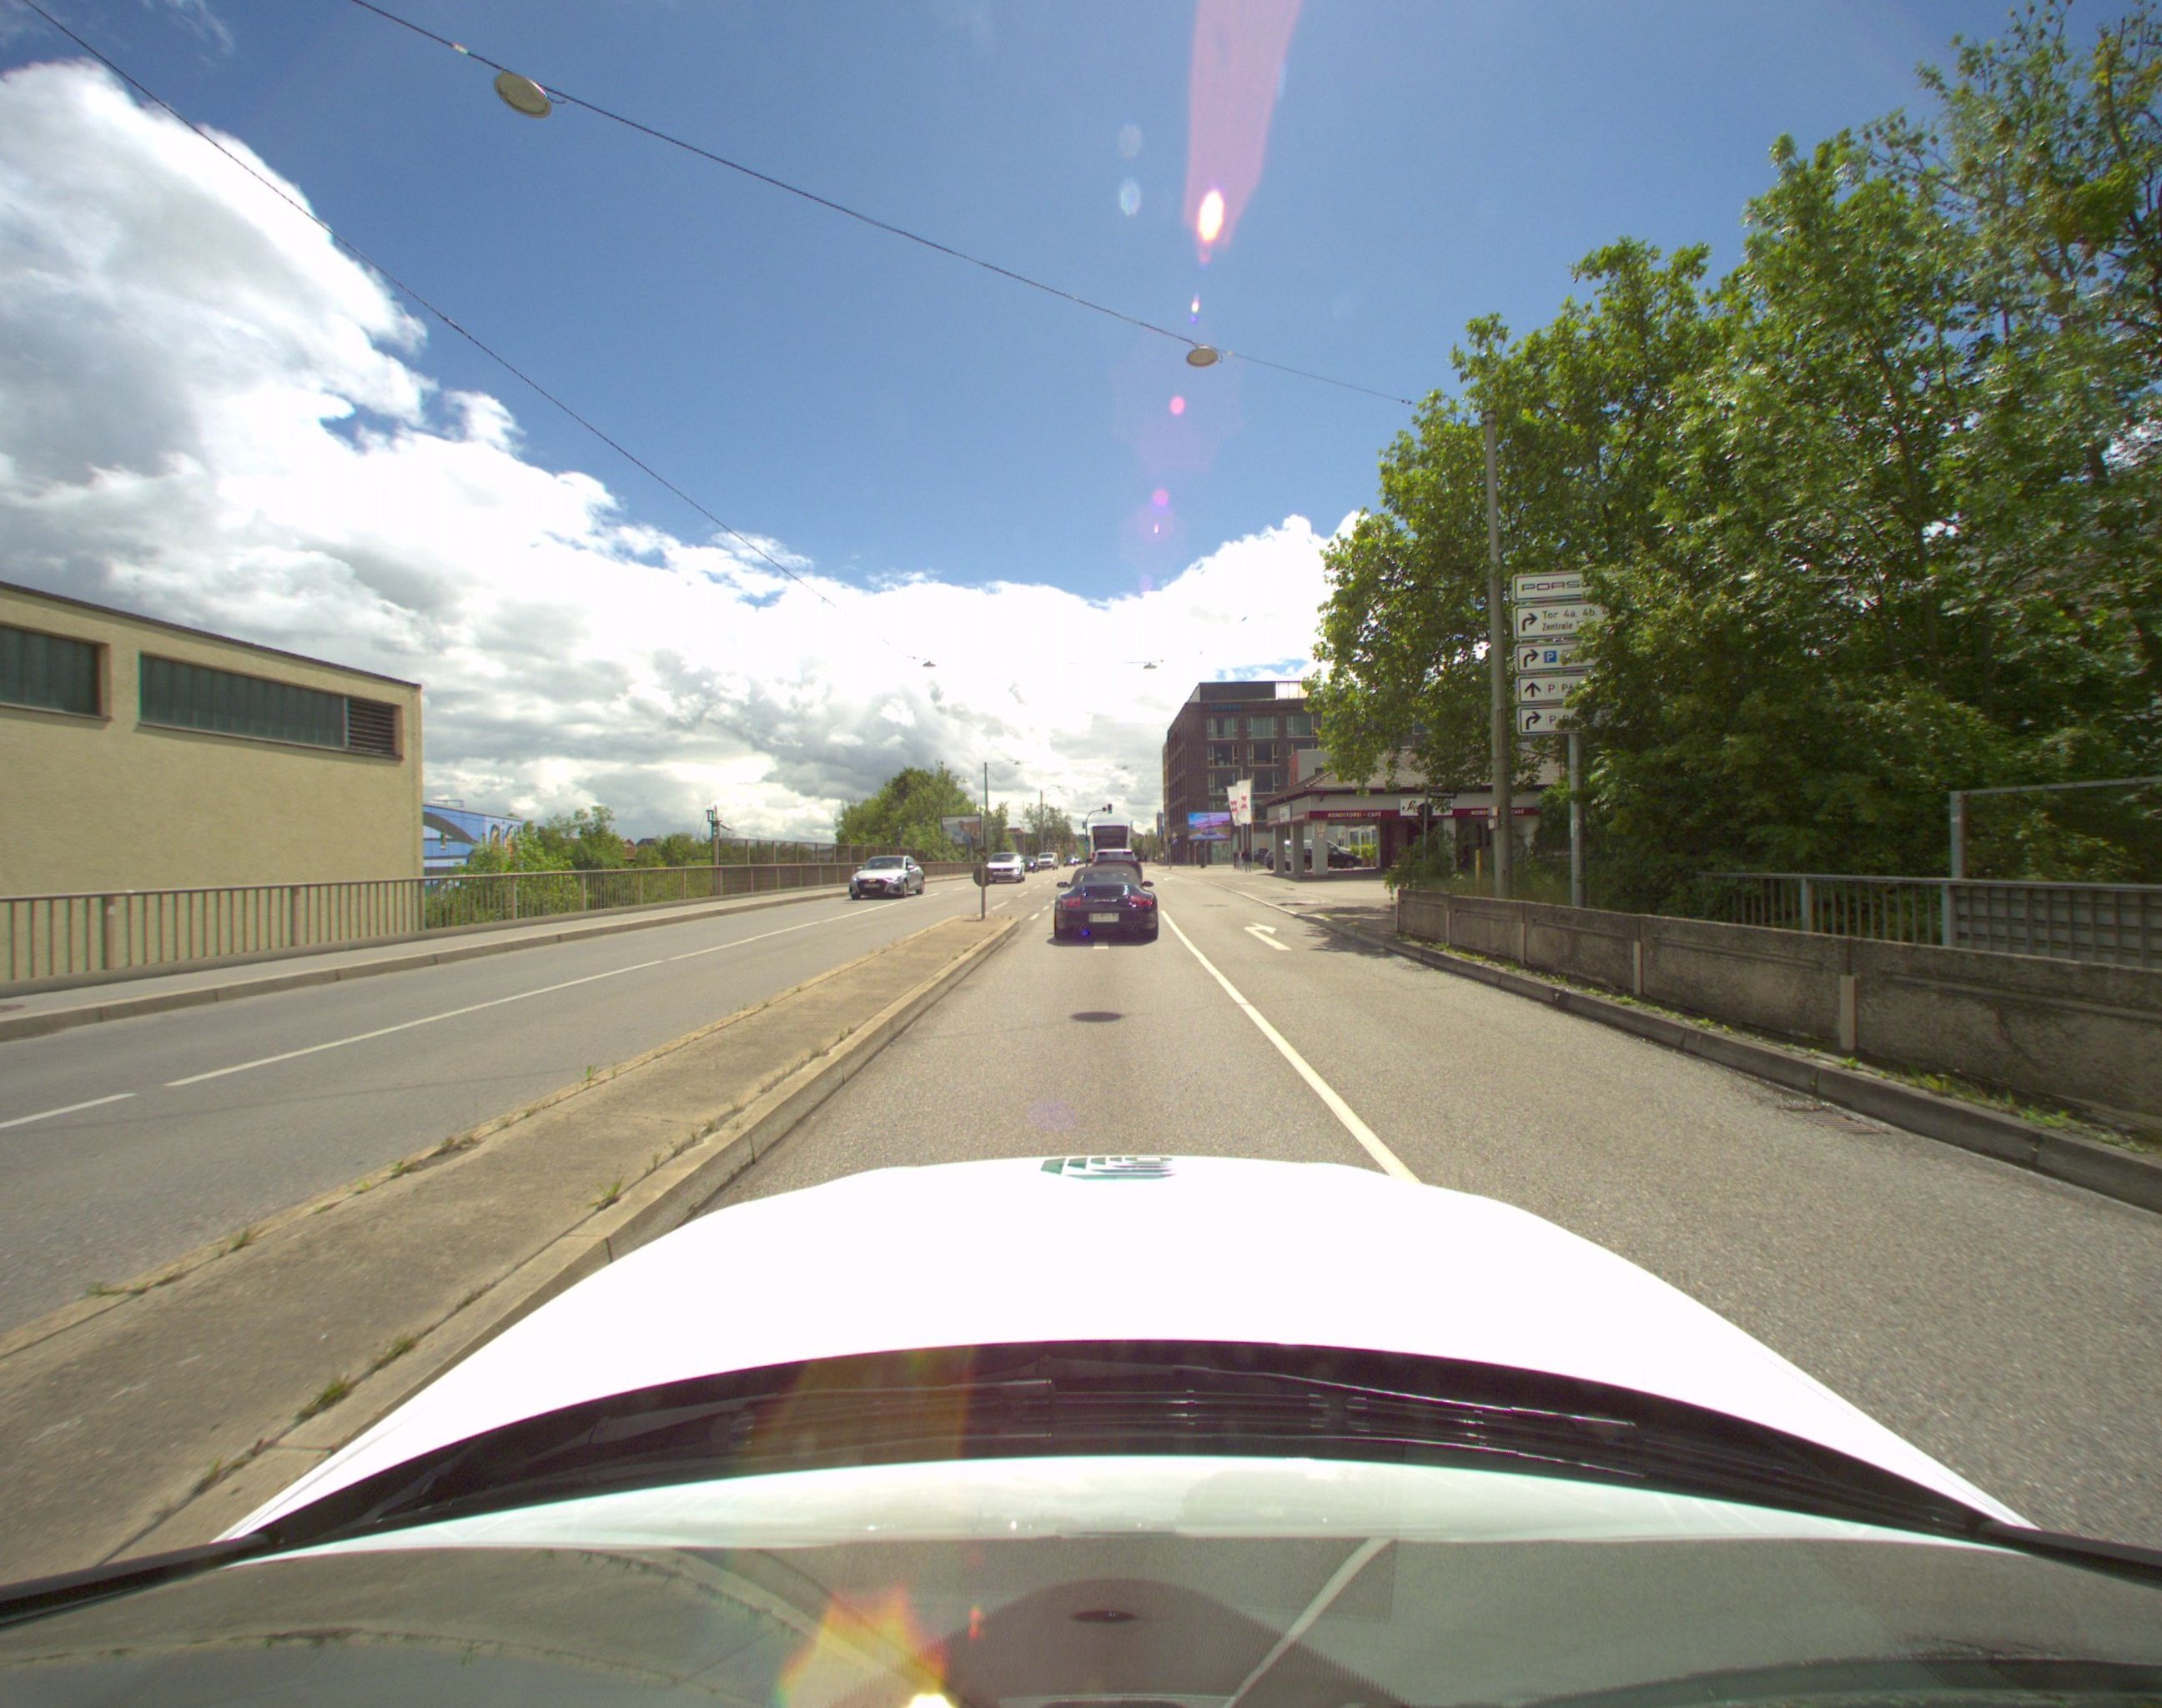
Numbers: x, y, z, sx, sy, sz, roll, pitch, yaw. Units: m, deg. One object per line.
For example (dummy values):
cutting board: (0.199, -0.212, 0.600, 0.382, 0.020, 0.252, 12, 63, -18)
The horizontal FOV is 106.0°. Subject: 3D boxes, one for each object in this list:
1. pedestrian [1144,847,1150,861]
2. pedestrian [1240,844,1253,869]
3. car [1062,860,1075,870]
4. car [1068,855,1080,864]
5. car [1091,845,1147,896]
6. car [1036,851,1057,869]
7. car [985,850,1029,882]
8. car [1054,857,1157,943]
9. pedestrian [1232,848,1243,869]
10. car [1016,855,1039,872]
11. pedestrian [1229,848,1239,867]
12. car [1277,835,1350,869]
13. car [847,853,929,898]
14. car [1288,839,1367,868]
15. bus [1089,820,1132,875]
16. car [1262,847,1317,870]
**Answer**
pedestrian: (9.663, 0.024, 119.191, 0.664, 2.014, 0.769, -1, -1, 0)
pedestrian: (11.257, 0.193, 55.456, 0.673, 1.696, 0.602, -1, 0, 27)
car: (-1.817, 1.573, 119.896, 1.656, 1.416, 3.805, -1, 0, 2)
car: (-1.182, 0.884, 139.223, 1.656, 1.547, 3.805, -1, 0, 2)
car: (1.306, 0.520, 29.328, 1.873, 1.594, 4.231, 0, 2, 1)
car: (-3.921, 0.711, 92.638, 1.894, 1.887, 5.315, -3, 0, 2)
car: (-3.746, 0.579, 41.816, 1.803, 1.560, 4.208, 0, 0, 1)
car: (0.457, 0.781, 15.692, 1.713, 1.275, 4.090, 0, 2, 1)
pedestrian: (12.725, 0.359, 66.359, 0.705, 1.696, 0.924, -1, 0, -1)
car: (-4.780, 0.860, 73.401, 1.622, 1.430, 4.002, -1, 0, 2)
pedestrian: (13.339, 0.288, 71.054, 0.668, 1.661, 0.742, -1, -1, 0)
car: (15.233, -0.105, 53.548, 4.213, 1.936, 2.031, -4, -1, 2)
car: (-6.529, 0.688, 27.986, 1.631, 1.363, 4.196, -1, 0, 2)
car: (15.208, 0.001, 50.475, 4.283, 1.513, 1.847, -4, -1, 2)
bus: (2.137, -0.653, 56.756, 2.678, 3.254, 12.070, 1, 3, 3)
car: (15.771, 0.321, 61.718, 3.744, 1.440, 1.720, -5, -1, 2)
